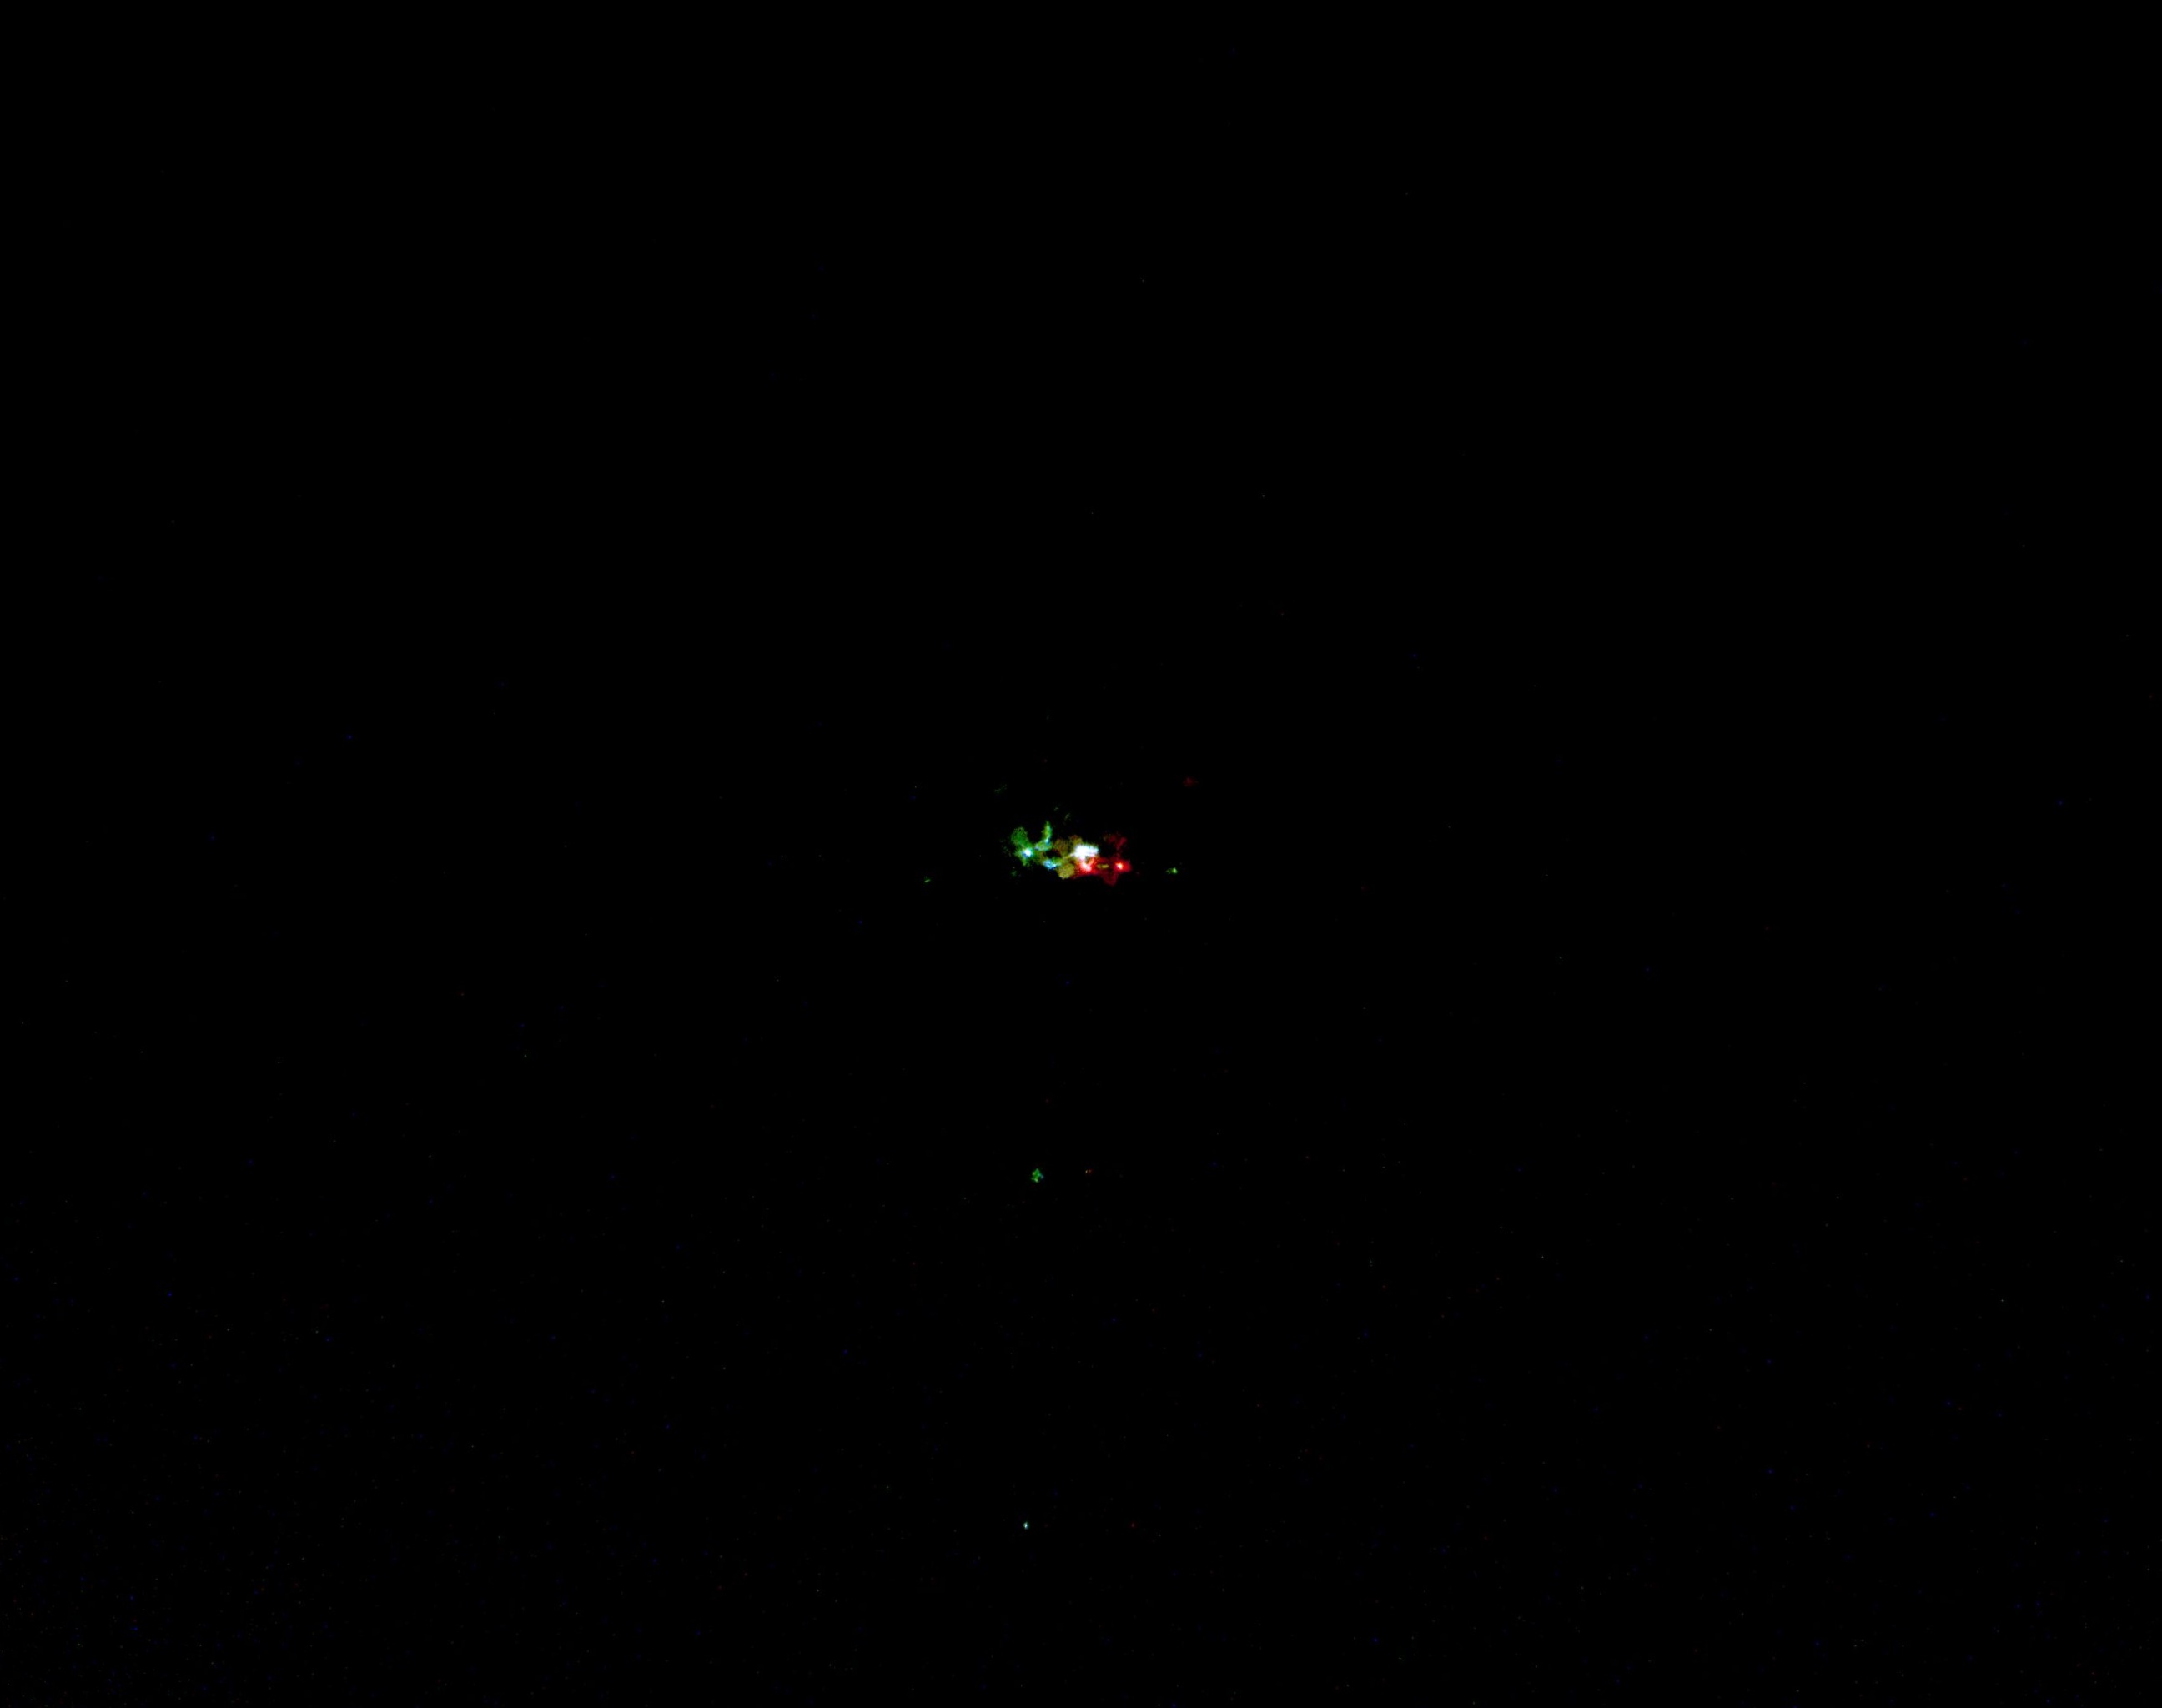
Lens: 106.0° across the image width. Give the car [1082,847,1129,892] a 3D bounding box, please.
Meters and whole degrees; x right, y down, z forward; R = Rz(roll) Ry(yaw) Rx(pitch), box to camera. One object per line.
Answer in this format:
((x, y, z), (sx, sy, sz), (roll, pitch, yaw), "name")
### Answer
((1.106, 0.685, 38.196), (1.987, 1.806, 3.917), (-3, 2, 0), "car")
